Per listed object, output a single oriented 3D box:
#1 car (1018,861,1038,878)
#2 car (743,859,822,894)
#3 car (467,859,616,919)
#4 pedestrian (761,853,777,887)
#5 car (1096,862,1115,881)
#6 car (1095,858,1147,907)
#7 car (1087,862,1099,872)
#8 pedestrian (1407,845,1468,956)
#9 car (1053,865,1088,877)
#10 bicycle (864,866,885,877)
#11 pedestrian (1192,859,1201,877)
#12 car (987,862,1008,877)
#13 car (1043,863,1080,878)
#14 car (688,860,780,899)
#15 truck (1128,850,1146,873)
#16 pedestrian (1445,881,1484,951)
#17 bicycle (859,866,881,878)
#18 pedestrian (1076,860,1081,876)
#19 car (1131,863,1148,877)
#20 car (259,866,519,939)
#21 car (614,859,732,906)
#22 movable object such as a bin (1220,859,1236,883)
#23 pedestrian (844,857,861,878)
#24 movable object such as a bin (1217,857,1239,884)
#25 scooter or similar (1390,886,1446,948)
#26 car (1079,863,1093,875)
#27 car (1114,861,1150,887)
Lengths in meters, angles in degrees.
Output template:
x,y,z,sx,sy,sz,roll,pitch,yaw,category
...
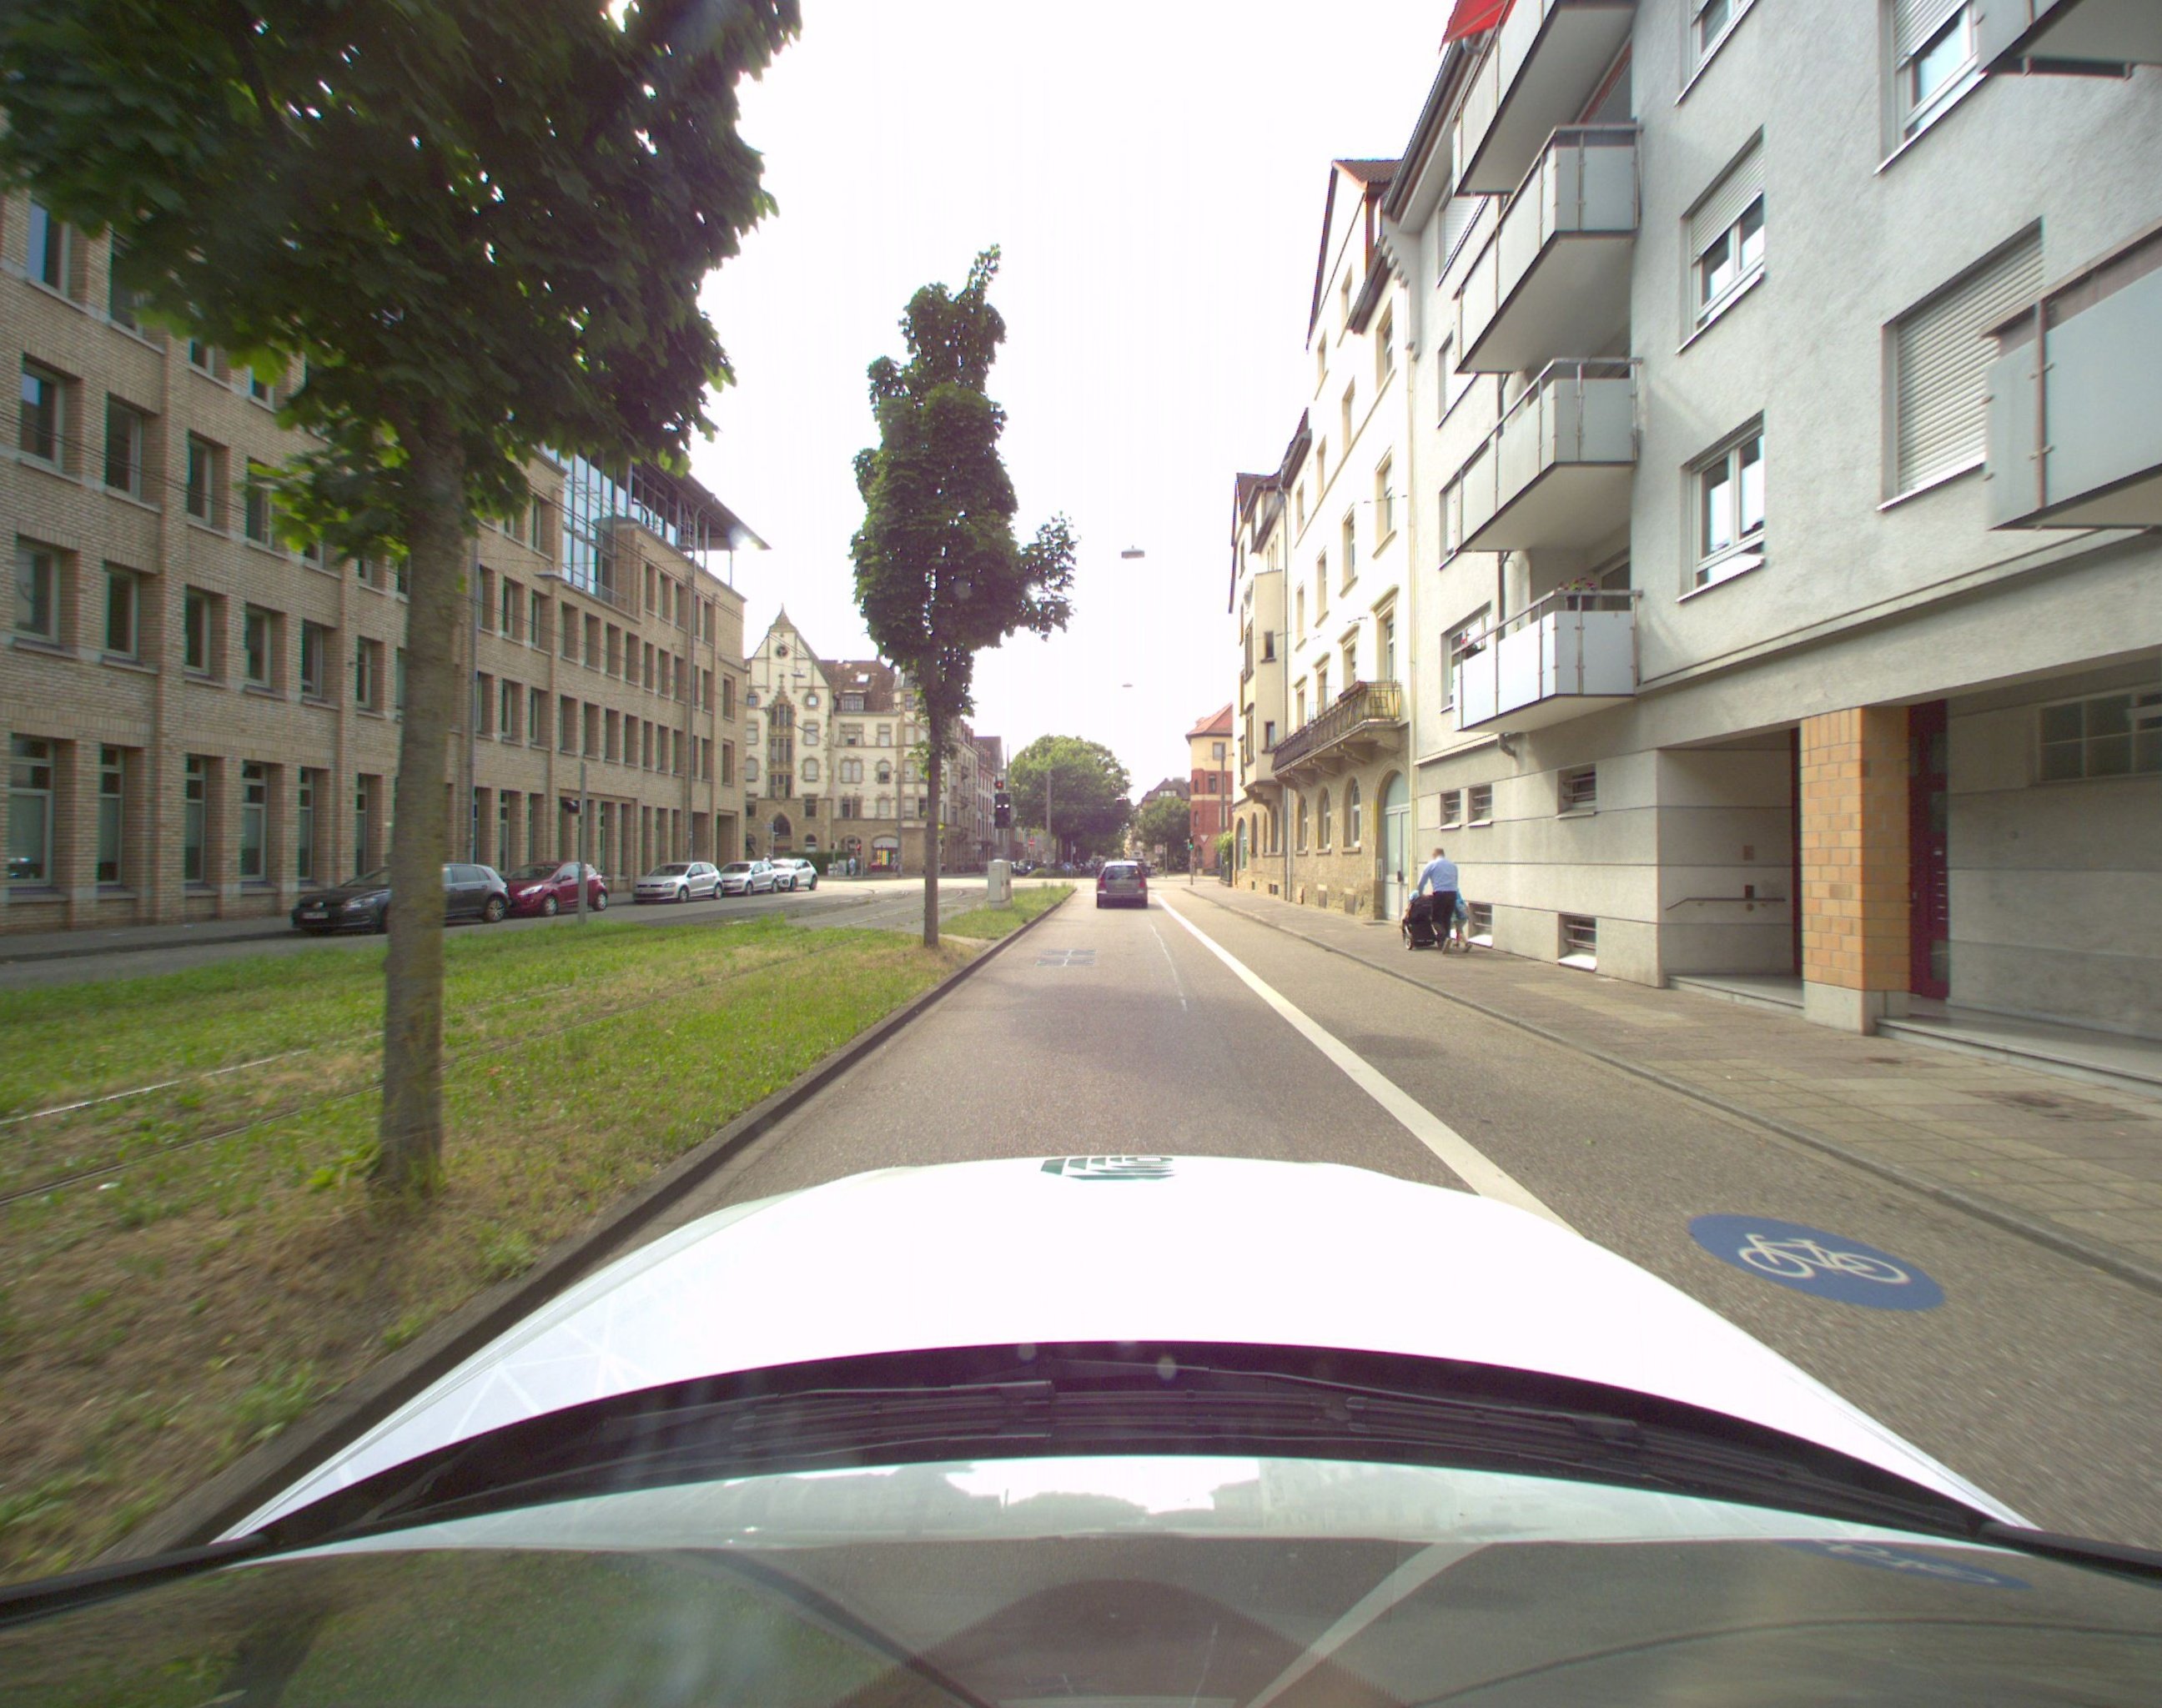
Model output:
x,y,z,sx,sy,sz,roll,pitch,yaw,category
-5.764,1.682,88.791,1.989,1.728,3.996,-1,-1,-3,car
-14.110,1.033,38.731,1.924,1.535,4.262,0,-1,4,car
-14.762,0.917,22.537,1.576,1.531,3.553,0,-1,4,car
-17.040,0.866,44.441,0.763,1.795,0.953,1,-1,-23,pedestrian
2.366,1.634,77.387,1.715,1.706,3.680,-1,-1,3,car
1.443,0.962,28.832,1.715,1.605,3.680,-1,-1,3,car
1.982,2.115,132.275,1.745,1.517,3.502,0,-1,3,car
5.828,0.741,13.345,0.618,1.739,0.878,-1,-1,3,pedestrian
-1.210,1.860,89.888,1.983,1.339,3.956,1,-1,-37,car
-19.806,1.663,78.149,1.914,1.081,0.776,0,-1,-8,bicycle
11.104,1.332,78.417,0.864,1.657,0.738,0,-1,7,pedestrian
-8.984,1.650,87.429,1.989,1.618,3.996,-1,-1,-3,car
-2.108,1.758,87.304,1.983,1.495,3.956,1,-1,-37,car
-14.413,1.013,34.118,1.924,1.531,4.018,0,-1,4,car
7.450,0.974,107.938,2.112,2.970,4.007,-1,-1,6,truck
6.468,1.033,13.745,0.454,1.135,0.494,0,-1,3,pedestrian
-19.606,1.627,75.634,1.914,1.081,0.776,0,-1,-8,bicycle
-0.308,1.469,84.984,0.492,1.725,0.653,0,-1,-3,pedestrian
6.849,1.851,94.847,1.743,1.633,3.505,0,-1,6,car
-14.921,0.965,17.957,1.924,1.396,4.243,0,-1,4,car
-14.437,0.960,29.109,1.843,1.531,4.214,0,-1,4,car
9.014,1.041,49.909,0.713,1.472,0.980,0,-1,-6,movable object such as a bin
-18.502,1.080,65.932,1.029,1.722,0.767,1,-1,-42,pedestrian
8.598,0.988,47.754,1.045,1.540,2.102,-1,-1,5,movable object such as a bin
5.886,1.086,14.257,0.590,1.002,0.906,-4,-1,3,scooter or similar
0.757,2.020,111.606,1.745,1.633,3.502,0,-1,3,car
2.918,1.115,47.065,1.972,1.442,4.003,0,-1,3,car
